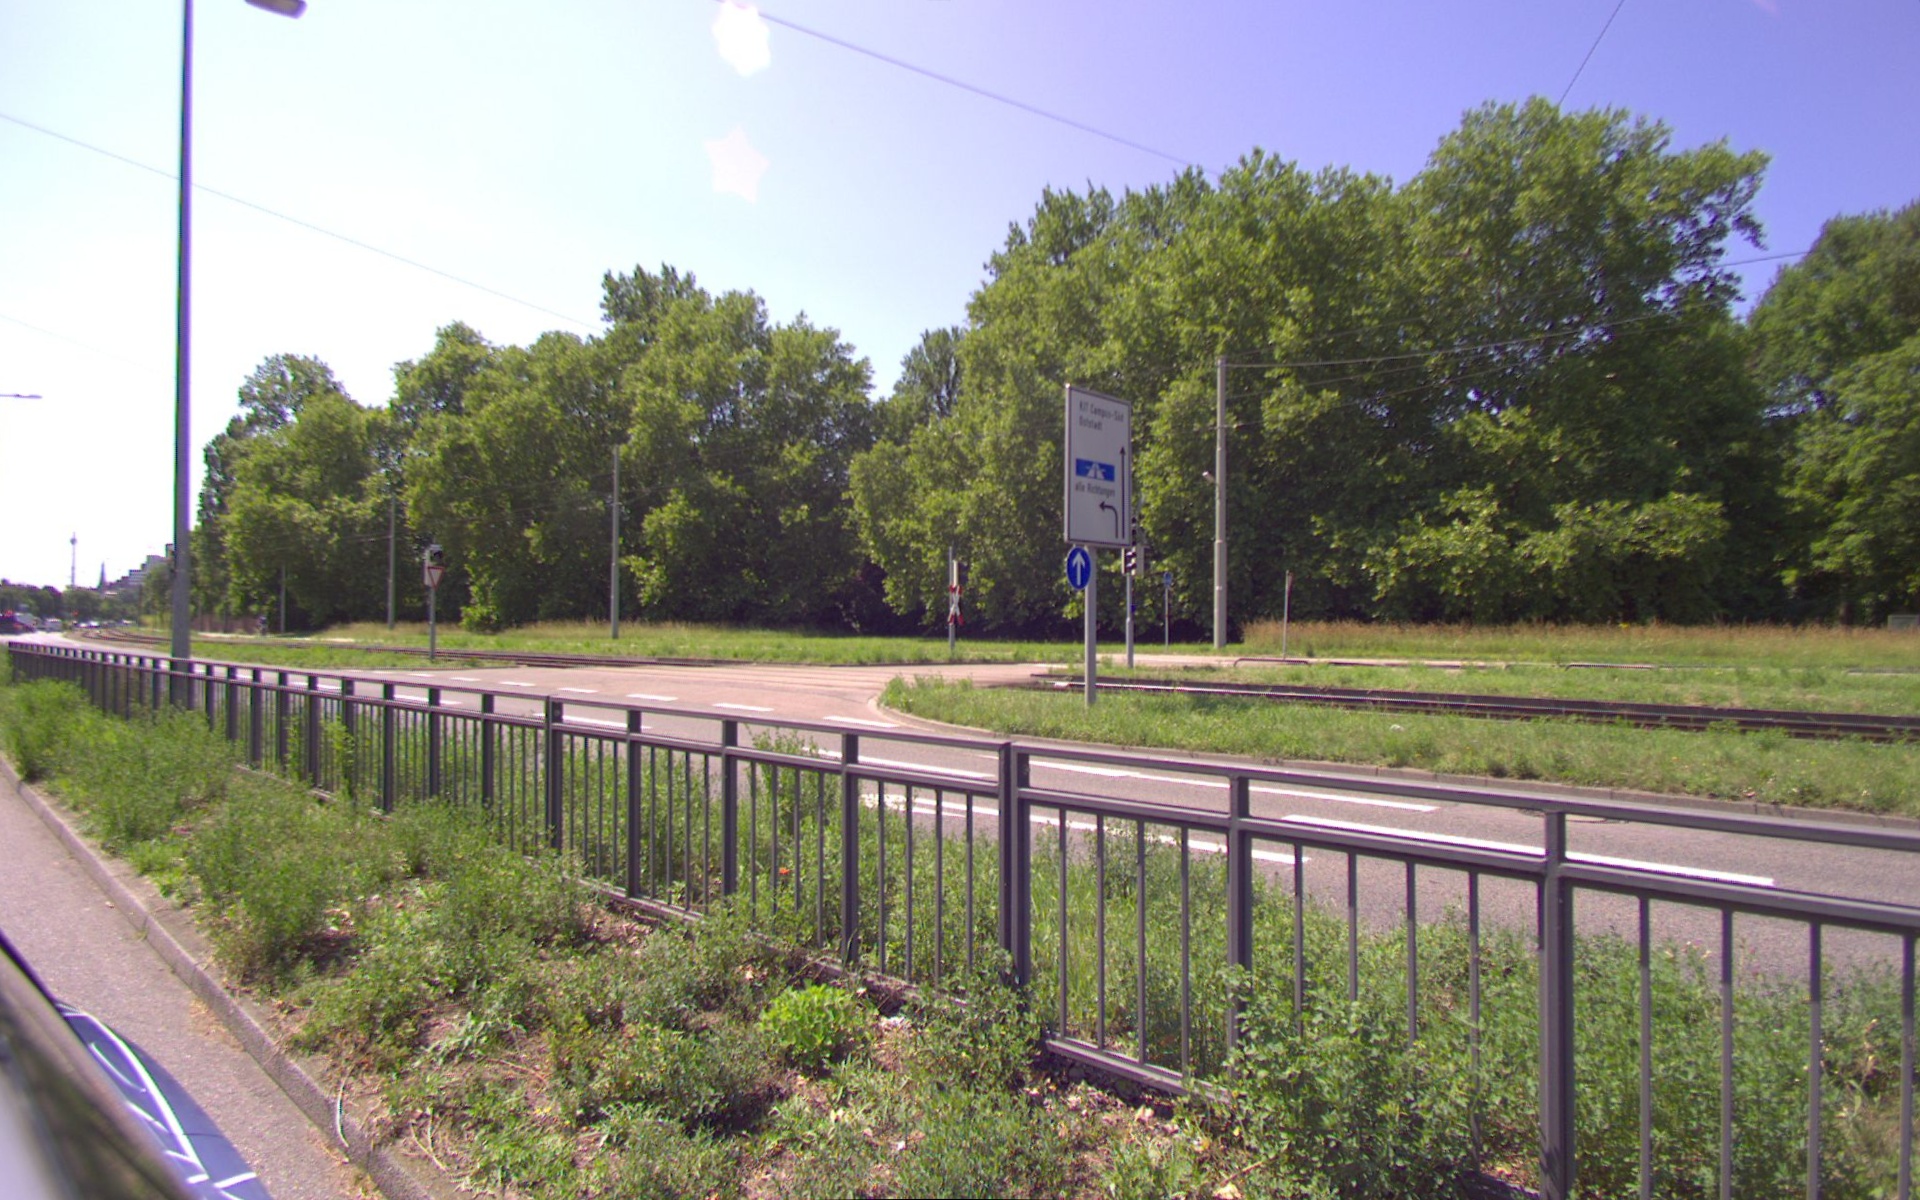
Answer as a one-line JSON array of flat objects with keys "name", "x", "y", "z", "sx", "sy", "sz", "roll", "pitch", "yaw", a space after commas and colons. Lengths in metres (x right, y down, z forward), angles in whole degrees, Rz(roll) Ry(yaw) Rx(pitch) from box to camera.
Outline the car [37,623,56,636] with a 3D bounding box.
[{"name": "car", "x": -136.928, "y": 4.408, "z": 151.655, "sx": 1.970, "sy": 1.871, "sz": 4.003, "roll": 1, "pitch": -2, "yaw": -44}]

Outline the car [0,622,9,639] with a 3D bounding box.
[{"name": "car", "x": -107.804, "y": 3.390, "z": 113.246, "sx": 1.970, "sy": 1.871, "sz": 4.004, "roll": 1, "pitch": -2, "yaw": -43}]

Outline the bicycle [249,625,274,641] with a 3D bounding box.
[{"name": "bicycle", "x": -51.727, "y": 2.416, "z": 74.966, "sx": 2.785, "sy": 1.171, "sz": 0.851, "roll": -1, "pitch": -2, "yaw": 41}]

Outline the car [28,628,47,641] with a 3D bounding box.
[{"name": "car", "x": -141.876, "y": 5.261, "z": 155.647, "sx": 1.970, "sy": 1.871, "sz": 4.003, "roll": 1, "pitch": -2, "yaw": -44}]

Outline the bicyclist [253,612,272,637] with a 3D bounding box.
[{"name": "bicyclist", "x": -51.673, "y": 1.825, "z": 74.963, "sx": 1.117, "sy": 1.820, "sz": 0.851, "roll": -1, "pitch": -2, "yaw": 41}]
